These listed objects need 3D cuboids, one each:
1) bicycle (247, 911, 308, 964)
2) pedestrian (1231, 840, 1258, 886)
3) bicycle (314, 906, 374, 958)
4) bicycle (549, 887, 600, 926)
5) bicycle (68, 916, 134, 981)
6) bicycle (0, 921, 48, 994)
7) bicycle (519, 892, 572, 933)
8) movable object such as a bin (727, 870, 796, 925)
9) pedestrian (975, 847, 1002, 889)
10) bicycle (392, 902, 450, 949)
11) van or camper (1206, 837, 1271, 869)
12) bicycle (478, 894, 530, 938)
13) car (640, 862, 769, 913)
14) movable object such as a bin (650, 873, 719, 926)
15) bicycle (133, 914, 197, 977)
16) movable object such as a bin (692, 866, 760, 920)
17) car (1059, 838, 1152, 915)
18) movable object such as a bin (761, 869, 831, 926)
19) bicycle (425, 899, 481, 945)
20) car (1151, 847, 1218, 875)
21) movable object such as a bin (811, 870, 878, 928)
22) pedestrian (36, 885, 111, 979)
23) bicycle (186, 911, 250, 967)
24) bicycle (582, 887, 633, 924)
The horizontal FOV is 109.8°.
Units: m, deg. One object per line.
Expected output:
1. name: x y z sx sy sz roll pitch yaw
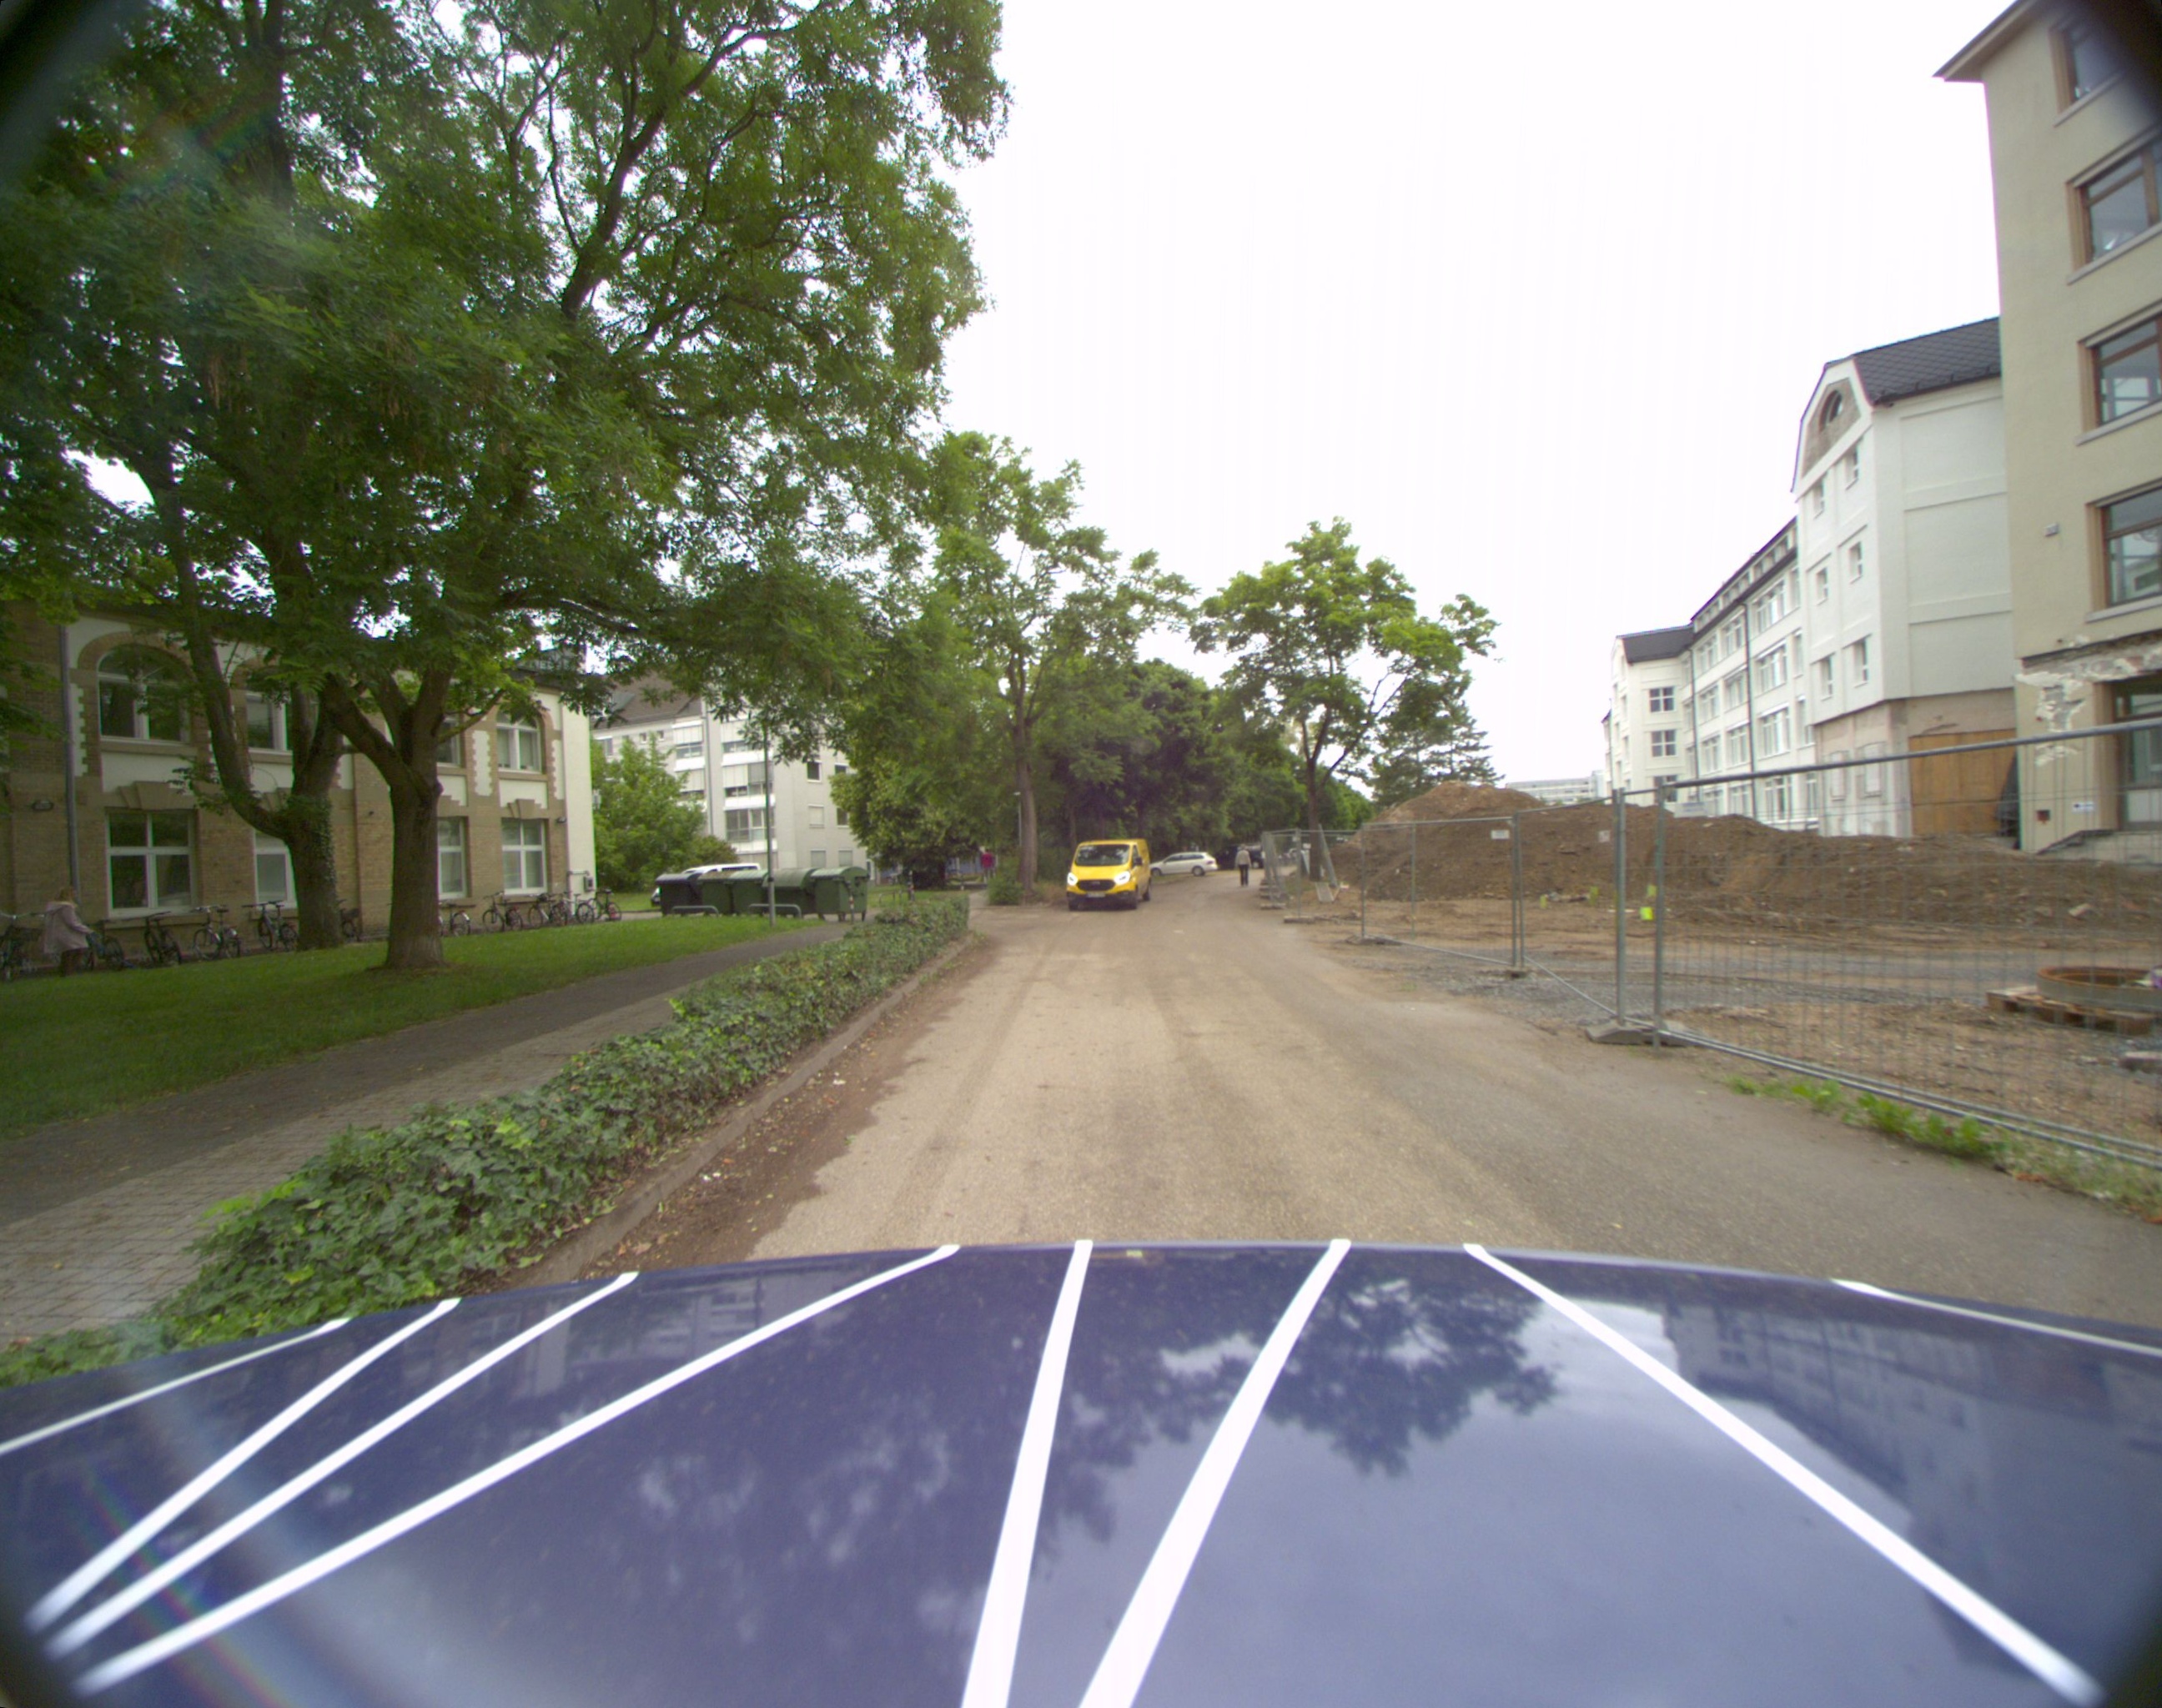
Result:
1. bicycle: -17.779 1.828 16.805 1.740 1.108 0.461 -2 0 28
2. pedestrian: 6.443 0.351 29.912 0.752 1.771 0.662 -3 1 -24
3. bicycle: -17.082 1.784 17.595 1.740 1.108 0.461 -2 1 28
4. bicycle: -15.034 1.567 22.554 1.740 1.108 0.461 -2 0 28
5. bicycle: -18.796 1.785 14.568 1.740 1.108 0.461 -1 1 28
6. bicycle: -19.089 1.825 13.582 1.740 1.108 0.461 1 2 28
7. bicycle: -15.359 1.673 21.787 1.740 1.108 0.461 -2 0 28
8. movable object such as a bin: -8.953 1.209 21.305 1.292 1.442 1.110 -3 1 21
9. pedestrian: -4.692 0.707 38.654 0.793 2.052 1.203 -2 1 22
10. bicycle: -16.544 1.783 19.042 1.740 1.108 0.461 -2 0 28
11. van or camper: 12.196 -0.085 58.873 4.490 2.245 2.003 -2 1 27
12. bicycle: -15.697 1.676 20.660 1.740 1.108 0.461 -2 0 30
13. car: -16.583 1.416 33.724 1.897 1.862 4.781 -5 -1 28
14. movable object such as a bin: -11.718 1.342 22.459 1.359 1.442 1.110 -3 1 21
15. bicycle: -18.411 1.814 15.267 1.740 1.108 0.461 1 2 28
16. movable object such as a bin: -10.220 1.118 21.909 1.324 1.442 1.110 -3 1 21
17. car: 0.842 0.591 22.316 2.122 2.002 4.003 -2 0 10
18. movable object such as a bin: -7.682 1.170 20.494 1.283 1.442 1.110 -2 1 24
19. bicycle: -16.257 1.752 19.654 1.740 1.108 0.461 -2 0 28
20. car: 6.510 0.453 47.521 3.879 1.565 1.754 -3 0 15
21. movable object such as a bin: -6.221 1.154 19.987 1.272 1.426 1.074 -2 1 35
22. pedestrian: -17.729 1.357 13.377 0.602 1.578 0.628 -2 1 27
23. bicycle: -18.166 1.768 15.983 1.740 1.108 0.461 -2 0 28
24. bicycle: -14.588 1.584 23.387 1.740 1.108 0.461 -2 0 28
